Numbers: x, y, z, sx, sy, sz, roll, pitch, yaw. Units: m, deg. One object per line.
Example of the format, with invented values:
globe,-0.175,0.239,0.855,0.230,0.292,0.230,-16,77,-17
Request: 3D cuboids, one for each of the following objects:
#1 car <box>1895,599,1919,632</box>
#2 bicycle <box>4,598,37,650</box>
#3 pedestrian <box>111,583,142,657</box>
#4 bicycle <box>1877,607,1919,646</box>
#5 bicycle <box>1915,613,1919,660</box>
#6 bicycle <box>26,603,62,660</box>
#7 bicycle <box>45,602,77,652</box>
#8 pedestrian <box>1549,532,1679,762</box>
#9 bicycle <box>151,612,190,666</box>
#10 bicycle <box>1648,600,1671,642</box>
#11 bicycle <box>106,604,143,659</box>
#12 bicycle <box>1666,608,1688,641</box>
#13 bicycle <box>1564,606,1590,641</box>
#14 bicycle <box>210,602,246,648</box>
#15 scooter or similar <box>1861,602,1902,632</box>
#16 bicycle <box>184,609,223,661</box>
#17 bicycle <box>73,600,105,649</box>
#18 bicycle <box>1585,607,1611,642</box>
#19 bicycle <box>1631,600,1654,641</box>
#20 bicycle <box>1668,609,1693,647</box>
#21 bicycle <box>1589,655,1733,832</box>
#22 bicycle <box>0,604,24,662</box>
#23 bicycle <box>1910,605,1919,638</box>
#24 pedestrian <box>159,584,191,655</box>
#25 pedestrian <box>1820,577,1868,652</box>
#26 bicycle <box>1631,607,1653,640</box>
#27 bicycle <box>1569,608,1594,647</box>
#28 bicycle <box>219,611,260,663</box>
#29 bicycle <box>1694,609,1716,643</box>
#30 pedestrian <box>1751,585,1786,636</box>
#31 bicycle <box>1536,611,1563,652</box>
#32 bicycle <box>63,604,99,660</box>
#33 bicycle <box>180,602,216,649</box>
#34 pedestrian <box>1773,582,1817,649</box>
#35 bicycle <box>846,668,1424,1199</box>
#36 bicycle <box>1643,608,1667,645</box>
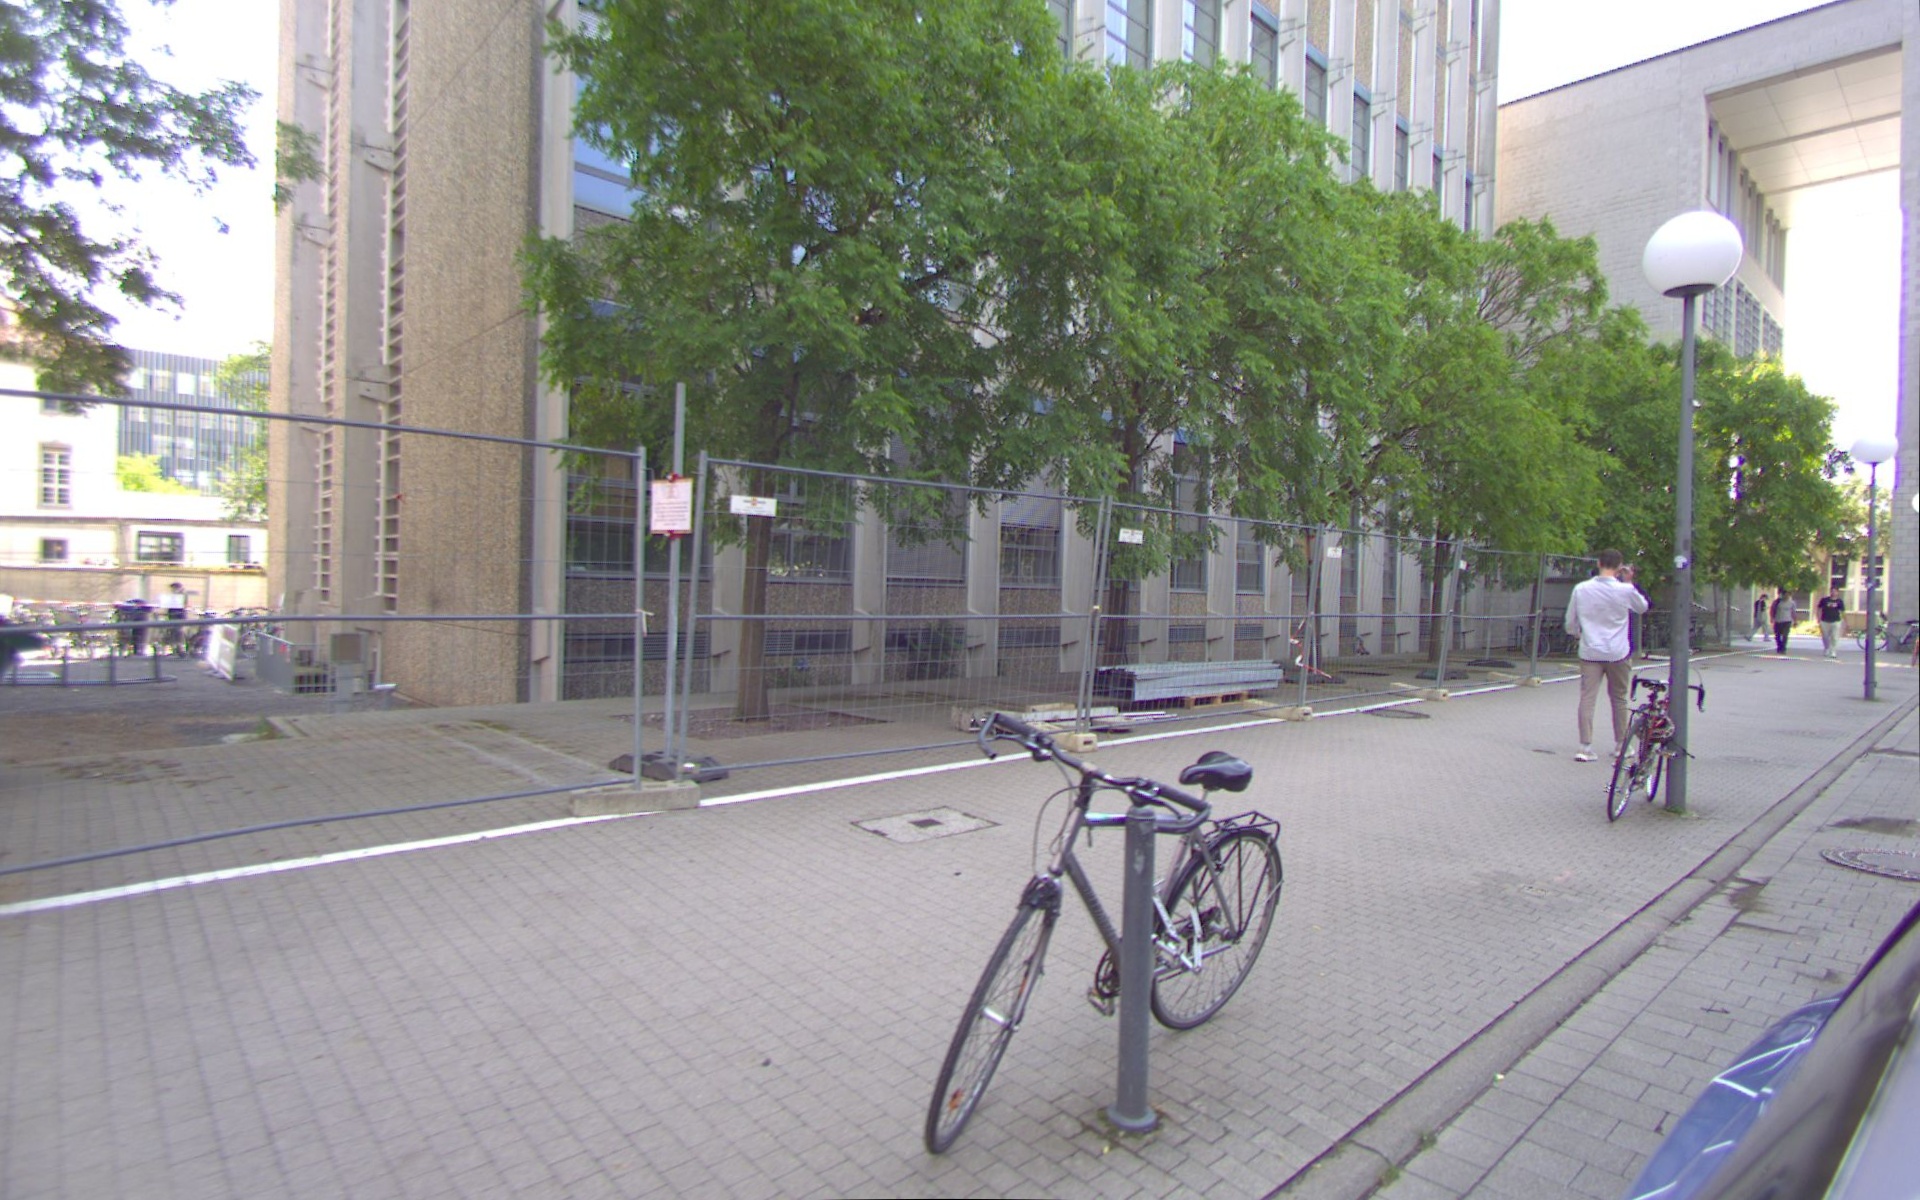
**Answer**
car,46.976,0.787,47.954,1.625,1.494,3.773,-2,3,-42
bicycle,-22.388,0.551,24.129,0.536,1.184,1.998,1,-1,-43
pedestrian,-18.776,0.437,22.797,0.524,1.651,0.562,0,0,-41
bicycle,26.775,0.768,28.235,1.739,1.052,0.442,3,0,44
bicycle,22.291,0.826,23.132,1.827,1.052,0.538,0,2,-43
bicycle,-19.859,0.667,21.934,0.536,1.184,1.998,1,-1,-43
bicycle,-22.033,0.635,24.796,0.536,1.184,1.998,1,-1,-43
pedestrian,5.705,0.375,8.899,0.777,1.868,1.109,0,0,23
bicycle,-18.285,0.889,23.426,0.536,1.184,1.998,1,-1,-43
bicycle,19.451,0.571,28.135,0.290,1.142,1.425,2,1,44
bicycle,-18.804,0.678,22.769,0.536,1.184,1.998,1,-1,-43
bicycle,20.595,0.700,29.059,0.290,0.917,1.425,2,1,44
bicycle,16.852,0.631,27.638,0.290,0.917,1.425,2,1,44
bicycle,-19.522,0.648,26.984,0.536,1.184,2.063,1,-1,-43
scooter or similar,37.636,0.707,41.319,0.436,1.165,1.158,2,1,-37
bicycle,-17.841,0.804,23.860,0.536,1.184,1.998,1,-1,-43
bicycle,-21.657,0.593,25.149,0.536,1.184,1.998,1,-1,-43
bicycle,17.188,0.646,27.260,0.290,0.917,1.425,2,1,44
bicycle,19.152,0.571,28.393,0.290,1.108,1.425,2,1,44
bicycle,18.561,0.712,26.064,0.290,0.917,1.425,2,1,44
bicycle,4.680,0.891,6.712,1.703,0.947,0.396,0,3,-43
bicycle,-20.347,0.678,21.594,0.536,1.184,1.998,1,-1,-43
bicycle,35.648,0.835,36.546,1.881,1.178,0.595,4,2,43
pedestrian,-18.372,0.454,23.671,0.553,1.633,0.532,0,0,-41
pedestrian,22.229,0.359,25.463,0.697,1.826,0.873,2,0,30
bicycle,20.019,0.682,29.712,0.290,0.917,1.425,2,1,44
bicycle,15.373,0.661,25.034,0.290,0.917,1.780,2,1,39
bicycle,-17.283,0.872,24.263,0.536,1.184,1.998,1,-1,-43
bicycle,20.950,0.729,28.449,0.290,0.917,1.425,2,1,44
pedestrian,29.449,0.379,36.881,0.955,1.837,0.759,0,0,38
bicycle,13.786,0.716,23.659,0.290,0.917,1.596,2,1,39
bicycle,-19.428,0.672,22.364,0.536,1.184,1.998,1,-1,-43
bicycle,-20.024,0.643,26.577,0.536,1.184,2.063,1,-1,-43
pedestrian,21.571,0.388,26.158,0.697,1.676,0.873,2,0,30
bicycle,0.585,0.808,2.850,1.719,1.106,0.709,0,1,-43
bicycle,18.136,0.686,26.400,0.290,0.917,1.425,2,1,44
